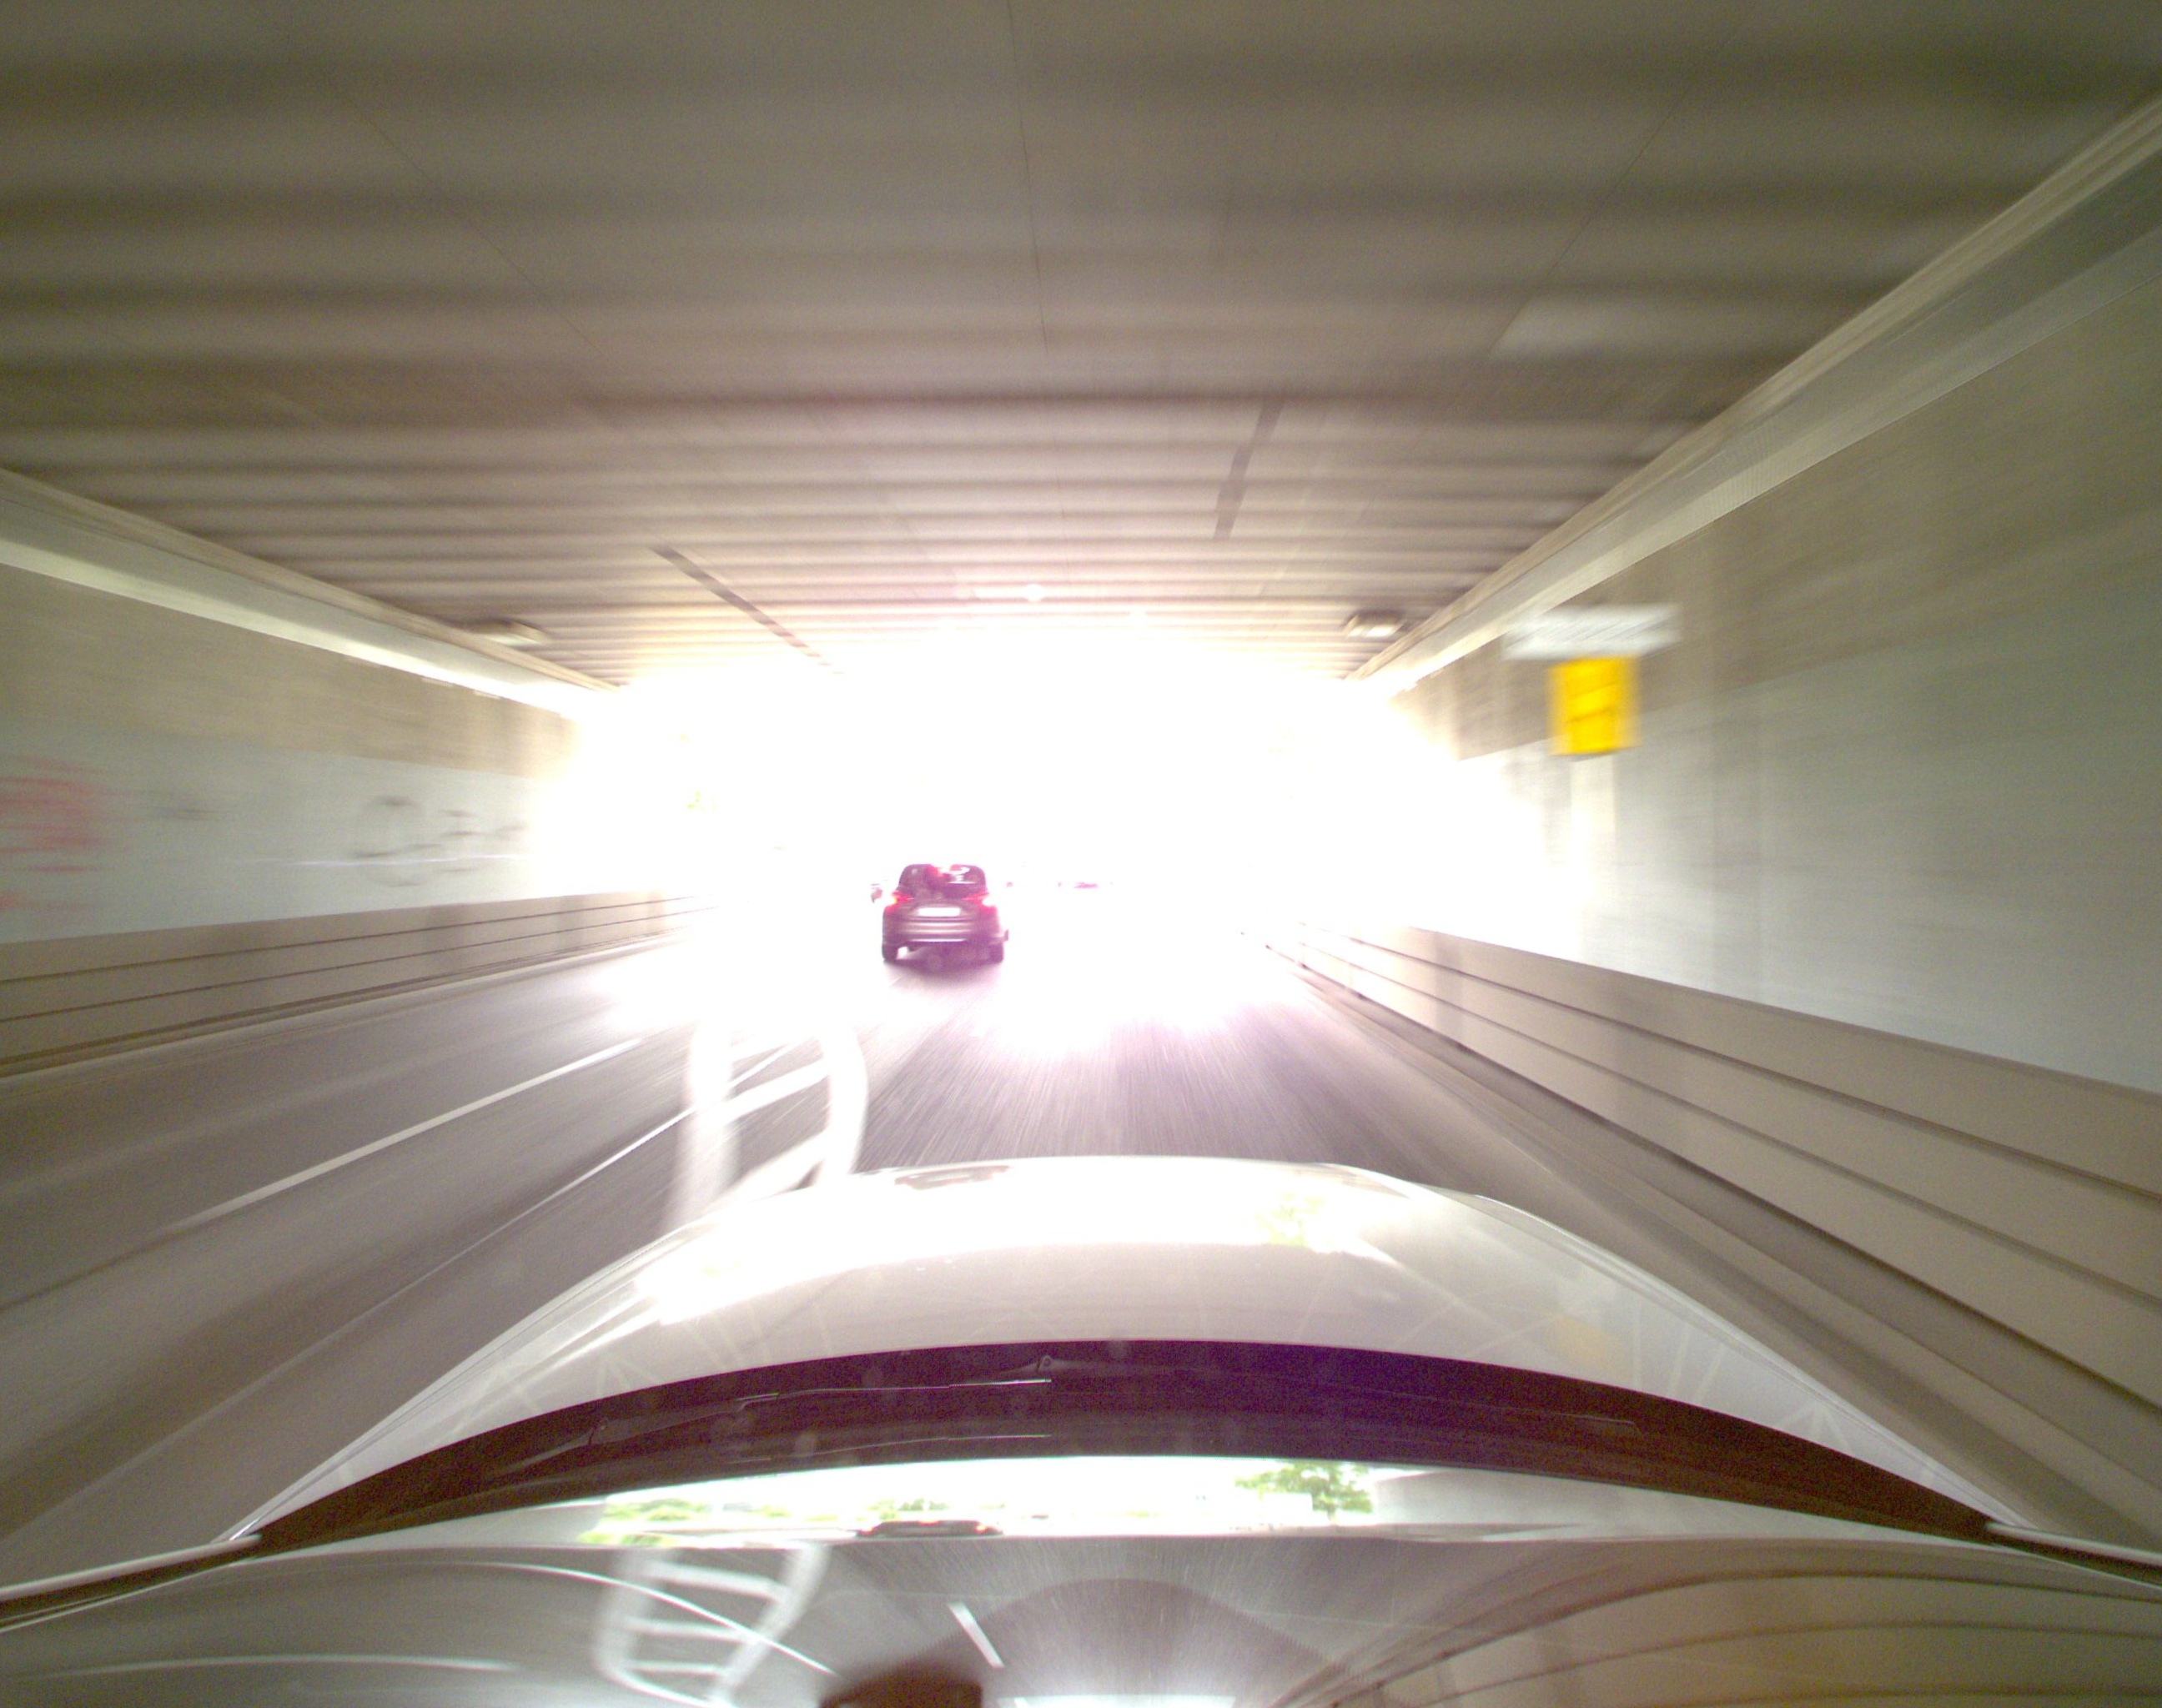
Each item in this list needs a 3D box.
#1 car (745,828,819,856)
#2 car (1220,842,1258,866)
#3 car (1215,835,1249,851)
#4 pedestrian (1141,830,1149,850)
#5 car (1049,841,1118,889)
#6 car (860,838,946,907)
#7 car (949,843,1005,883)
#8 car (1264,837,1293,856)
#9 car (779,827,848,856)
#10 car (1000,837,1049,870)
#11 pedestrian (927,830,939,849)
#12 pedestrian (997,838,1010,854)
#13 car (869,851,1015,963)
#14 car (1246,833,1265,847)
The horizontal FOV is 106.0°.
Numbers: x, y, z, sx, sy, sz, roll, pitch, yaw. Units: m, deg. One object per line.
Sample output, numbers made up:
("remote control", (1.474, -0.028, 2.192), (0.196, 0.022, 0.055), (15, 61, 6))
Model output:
("car", (-18.899, -0.758, 51.587), (3.968, 1.596, 1.875), (1, 1, 5))
("car", (10.580, -0.020, 54.277), (1.884, 1.466, 4.021), (0, 2, 20))
("car", (15.294, -1.134, 82.455), (1.824, 1.454, 4.026), (5, 4, 33))
("pedestrian", (6.147, -1.354, 78.521), (0.605, 1.862, 0.594), (1, 1, -14))
("car", (0.168, 0.363, 31.779), (1.817, 1.705, 3.882), (2, 1, 13))
("car", (-4.844, 0.434, 22.665), (1.683, 1.708, 3.786), (1, 1, -3))
("car", (-4.351, 0.317, 34.692), (1.756, 1.591, 4.002), (0, 1, 2))
("car", (17.446, -0.694, 71.825), (1.976, 1.618, 4.021), (0, 1, 21))
("car", (-18.192, -0.835, 55.529), (3.976, 1.947, 1.999), (0, 1, -2))
("car", (-3.028, -0.056, 44.314), (1.984, 1.698, 4.174), (0, 1, 5))
("pedestrian", (-12.691, -1.277, 69.751), (0.952, 1.612, 0.698), (1, 1, -9))
("pedestrian", (-6.281, -0.654, 65.932), (0.909, 1.223, 0.727), (3, 1, -8))
("car", (-2.040, 0.715, 12.998), (1.841, 1.493, 3.995), (0, 0, -3))
("car", (18.878, -1.515, 88.022), (1.149, 1.366, 2.521), (4, 2, 31))
